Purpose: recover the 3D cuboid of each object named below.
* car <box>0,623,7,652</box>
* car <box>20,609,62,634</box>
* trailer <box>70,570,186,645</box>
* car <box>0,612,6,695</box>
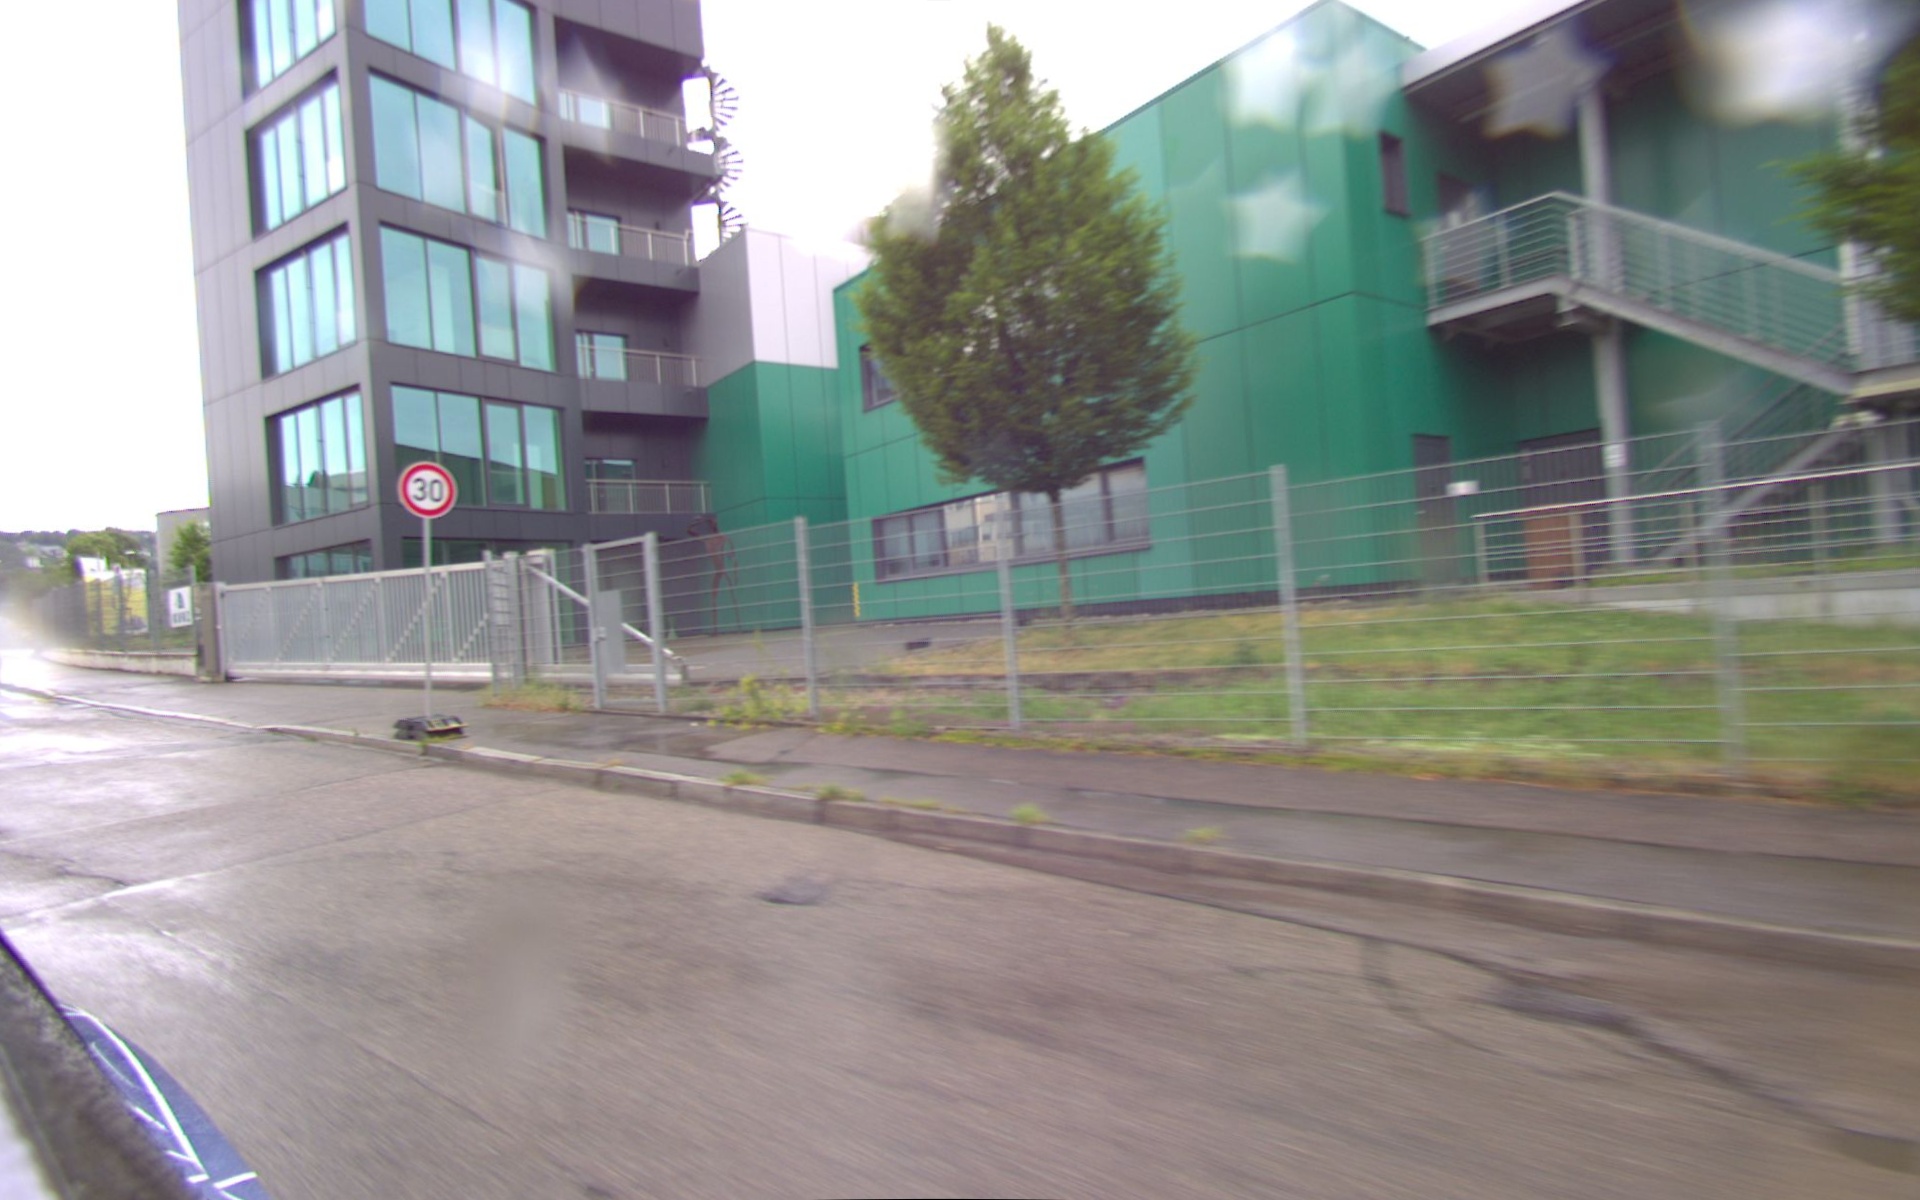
[{"bbox_3d":[-67.133,2.596,69.812,1.970,1.928,4.002,1,-2,-44],"label":"car"},{"bbox_3d":[-78.997,1.876,87.031,1.966,2.029,4.011,-2,0,-33],"label":"car"},{"bbox_3d":[-47.879,0.408,58.318,4.634,4.120,2.389,-2,0,0],"label":"trailer"},{"bbox_3d":[-23.084,1.237,22.860,3.954,1.811,1.722,-2,0,39],"label":"car"}]
